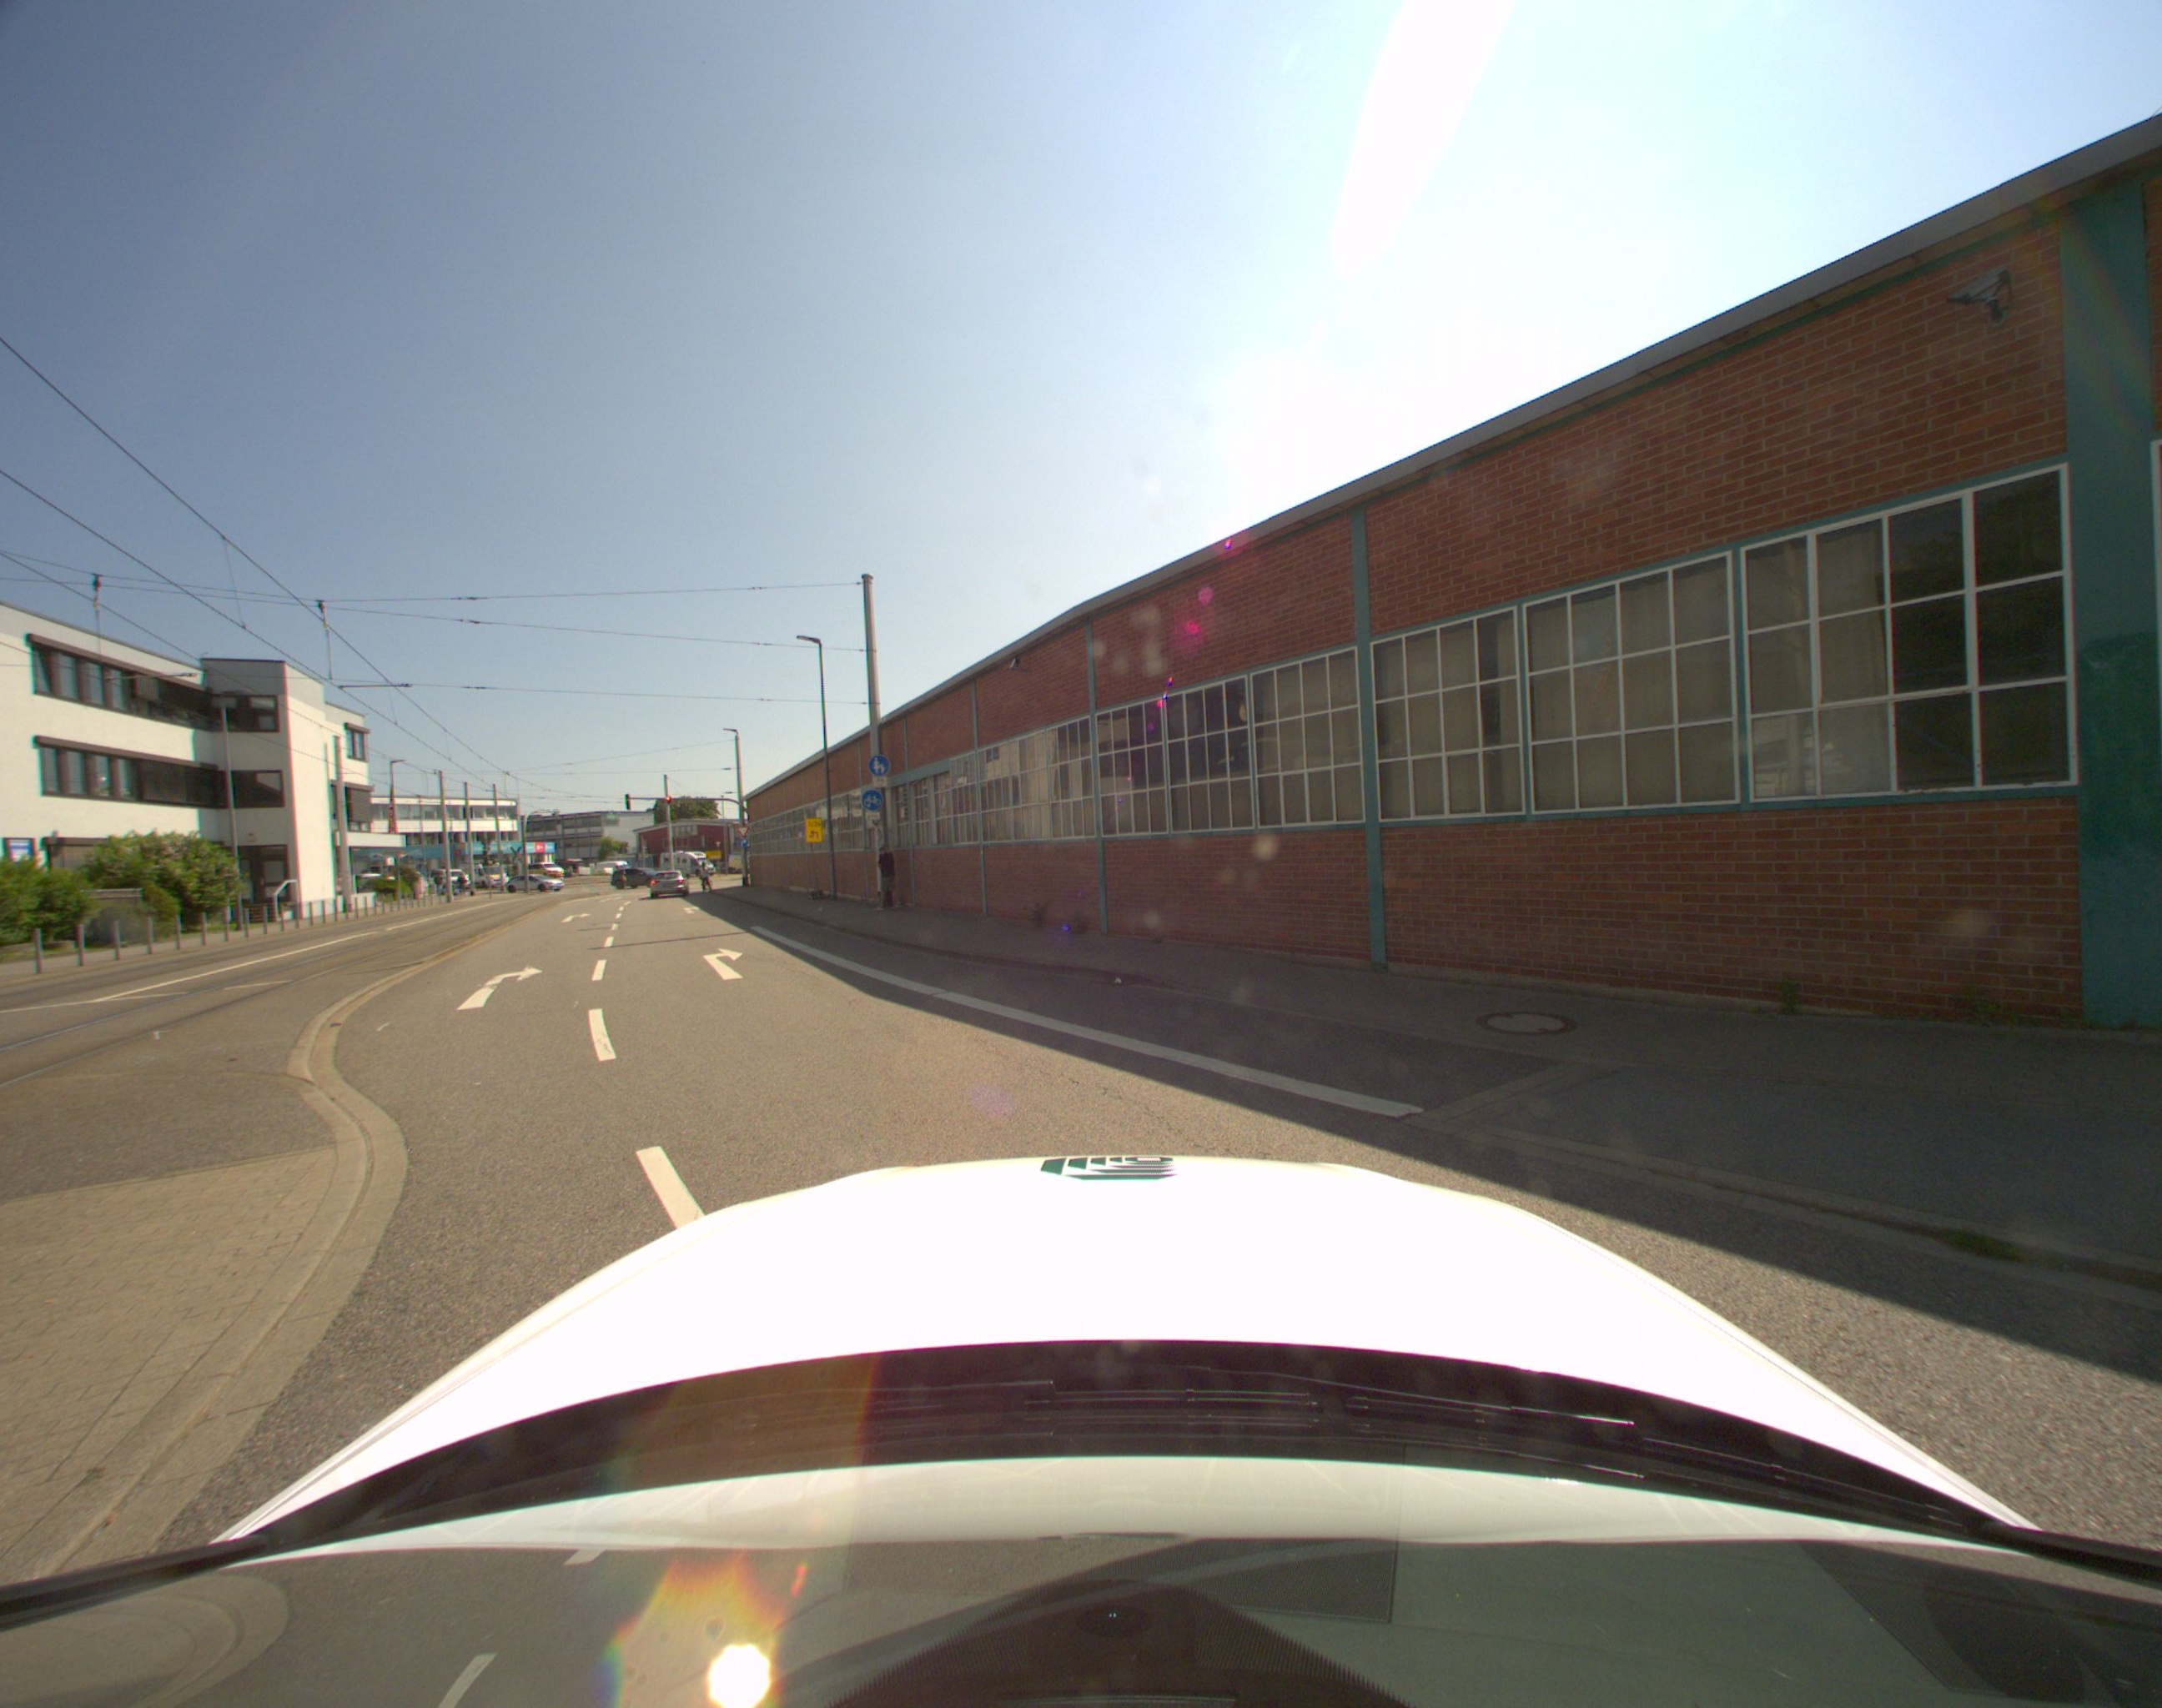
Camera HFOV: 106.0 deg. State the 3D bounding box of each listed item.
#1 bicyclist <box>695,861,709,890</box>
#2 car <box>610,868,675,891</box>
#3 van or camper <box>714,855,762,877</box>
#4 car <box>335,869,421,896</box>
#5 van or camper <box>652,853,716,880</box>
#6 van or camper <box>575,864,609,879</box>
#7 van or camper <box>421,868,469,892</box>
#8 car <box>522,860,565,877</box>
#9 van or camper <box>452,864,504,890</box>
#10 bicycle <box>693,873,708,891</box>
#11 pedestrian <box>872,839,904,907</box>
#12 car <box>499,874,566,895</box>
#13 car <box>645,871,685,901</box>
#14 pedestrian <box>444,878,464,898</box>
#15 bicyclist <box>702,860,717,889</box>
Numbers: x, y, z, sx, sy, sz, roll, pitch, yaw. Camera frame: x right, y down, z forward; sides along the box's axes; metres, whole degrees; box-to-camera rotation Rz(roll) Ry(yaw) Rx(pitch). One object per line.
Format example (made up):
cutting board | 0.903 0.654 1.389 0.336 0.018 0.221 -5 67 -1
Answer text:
bicyclist | -24.273 1.363 52.200 0.711 1.810 0.974 -3 0 -26
car | -34.365 2.000 63.955 3.983 1.508 1.875 -3 1 -7
van or camper | -42.116 1.492 100.000 5.320 2.439 2.303 1 3 25
car | -48.088 1.925 55.811 4.008 1.518 1.983 -3 3 -26
van or camper | -46.301 1.423 94.927 6.906 2.930 2.366 -1 2 19
van or camper | -72.535 2.570 120.730 3.957 1.947 2.008 -3 0 15
van or camper | -61.503 2.479 78.738 4.946 2.013 2.013 0 3 31
car | -62.688 1.718 94.927 5.057 1.759 1.957 -3 1 28
van or camper | -59.896 2.229 80.845 5.737 2.295 2.051 0 3 31
bicycle | -23.457 1.737 50.189 0.798 1.021 2.133 -3 0 -25
pedestrian | -5.233 0.501 22.072 0.688 1.764 0.445 -3 2 -29
car | -44.464 2.444 66.080 4.175 1.374 1.804 -3 1 2
car | -23.054 1.736 45.234 1.755 1.459 3.967 -3 1 -25
pedestrian | -47.123 2.549 61.223 1.139 1.454 0.828 -4 1 -38
bicyclist | -22.946 1.245 50.269 0.790 1.721 1.137 -3 0 -25
